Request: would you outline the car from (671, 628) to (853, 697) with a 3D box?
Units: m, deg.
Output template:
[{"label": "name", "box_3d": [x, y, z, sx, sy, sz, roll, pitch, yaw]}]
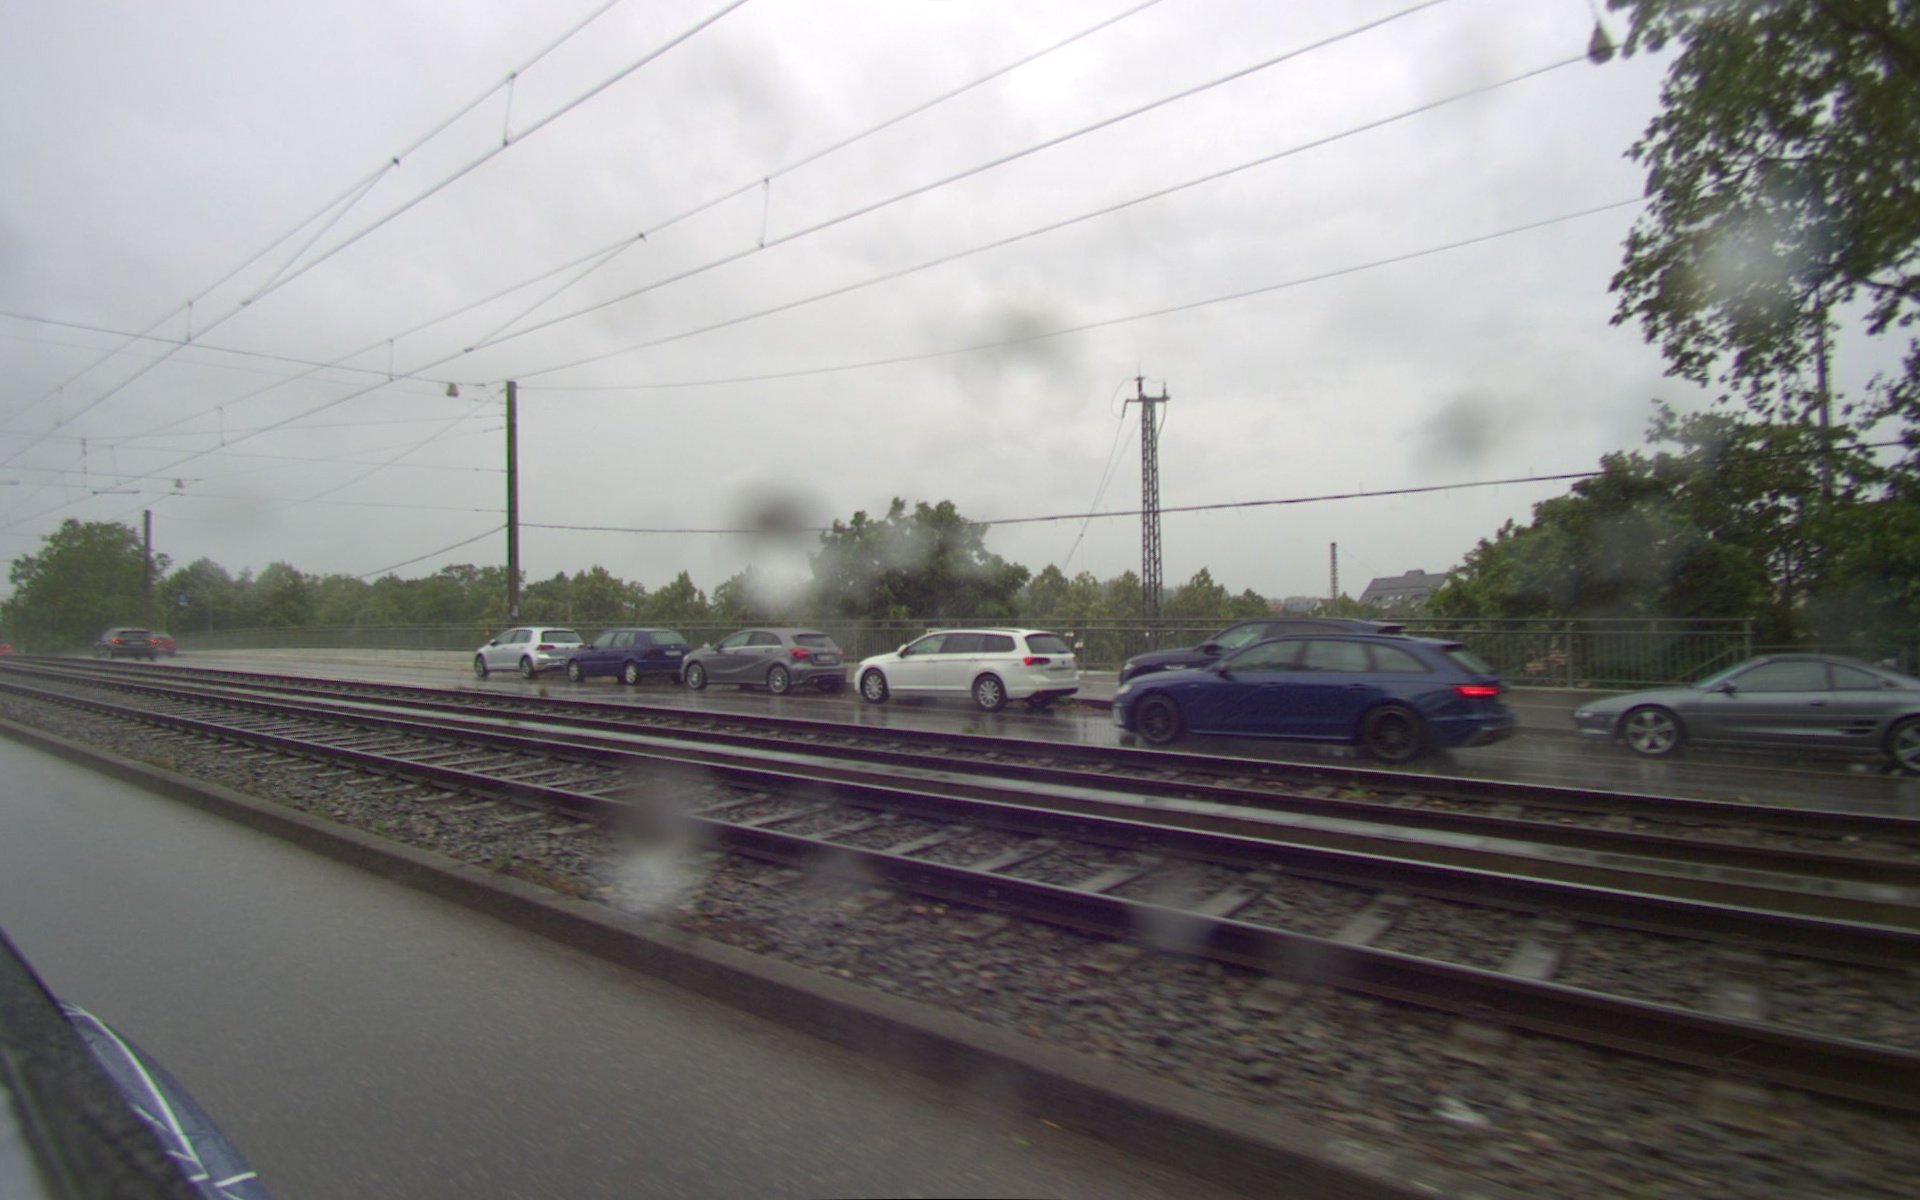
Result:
[{"label": "car", "box_3d": [-4.521, 1.365, 22.906, 4.122, 1.442, 1.634, -1, -3, 34]}]

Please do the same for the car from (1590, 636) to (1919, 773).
[{"label": "car", "box_3d": [9.643, 1.109, 11.578, 3.960, 1.389, 1.867, -1, -3, 38]}]

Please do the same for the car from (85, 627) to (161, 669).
[{"label": "car", "box_3d": [-37.775, 2.115, 45.662, 3.997, 1.729, 1.973, -1, 0, 40]}]

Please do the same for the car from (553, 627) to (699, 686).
[{"label": "car", "box_3d": [-8.802, 1.443, 26.555, 3.917, 1.442, 1.633, -1, -3, 35]}]

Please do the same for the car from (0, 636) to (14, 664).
[{"label": "car", "box_3d": [-63.857, 3.318, 66.567, 3.998, 1.729, 1.973, -1, 0, 41]}]

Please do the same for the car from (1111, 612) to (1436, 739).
[{"label": "car", "box_3d": [4.675, 1.066, 15.426, 4.363, 1.663, 1.867, -1, -3, 38]}]

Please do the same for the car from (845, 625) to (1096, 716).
[{"label": "car", "box_3d": [0.113, 1.262, 19.152, 4.572, 1.522, 1.868, -1, -3, 38]}]

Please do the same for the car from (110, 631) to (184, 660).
[{"label": "car", "box_3d": [-44.640, 2.455, 55.546, 4.910, 1.478, 2.014, -2, -1, 37]}]

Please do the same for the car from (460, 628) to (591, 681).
[{"label": "car", "box_3d": [-12.731, 1.551, 29.558, 4.144, 1.442, 1.633, -1, -3, 36]}]

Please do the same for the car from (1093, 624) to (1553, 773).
[{"label": "car", "box_3d": [4.269, 1.054, 12.340, 4.910, 1.478, 2.014, -1, -3, 37]}]
